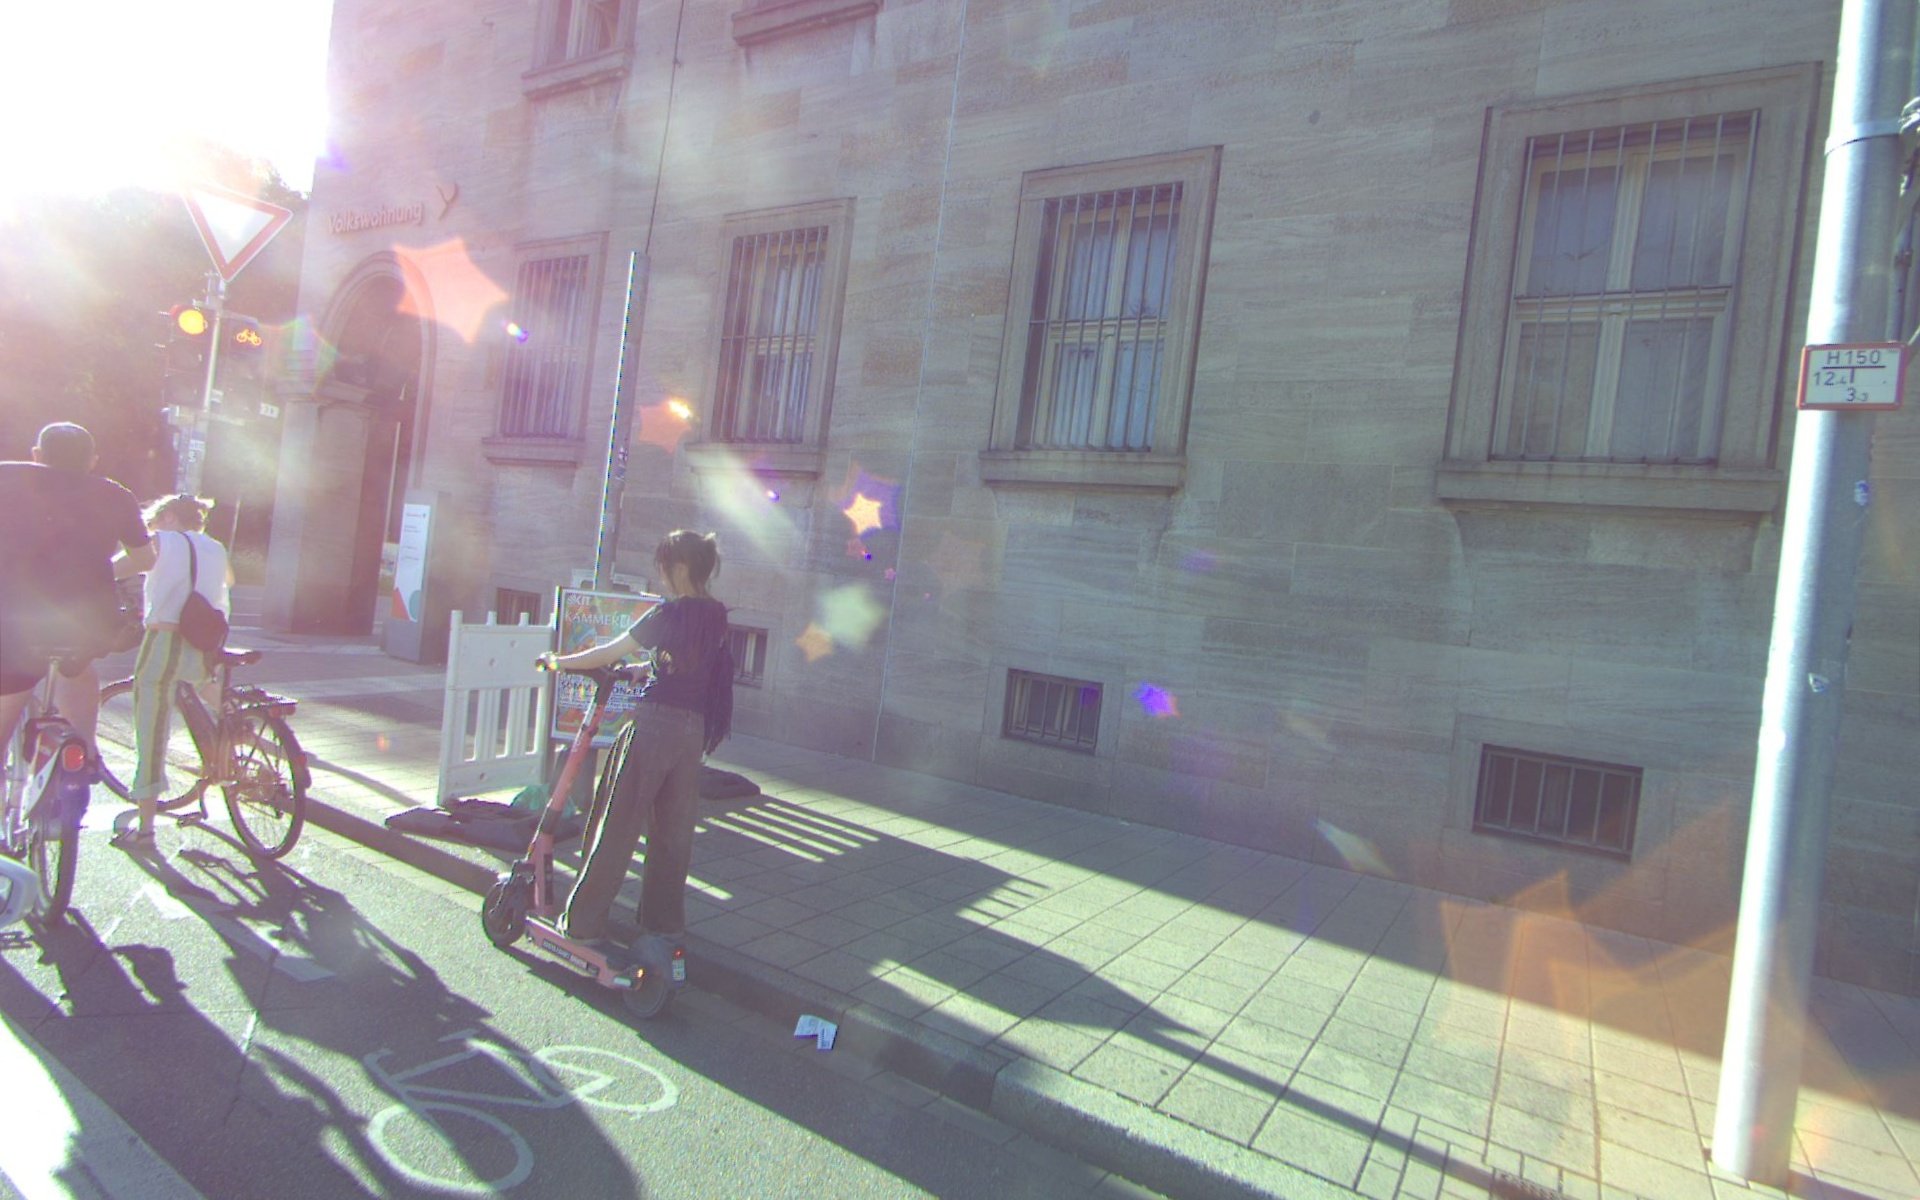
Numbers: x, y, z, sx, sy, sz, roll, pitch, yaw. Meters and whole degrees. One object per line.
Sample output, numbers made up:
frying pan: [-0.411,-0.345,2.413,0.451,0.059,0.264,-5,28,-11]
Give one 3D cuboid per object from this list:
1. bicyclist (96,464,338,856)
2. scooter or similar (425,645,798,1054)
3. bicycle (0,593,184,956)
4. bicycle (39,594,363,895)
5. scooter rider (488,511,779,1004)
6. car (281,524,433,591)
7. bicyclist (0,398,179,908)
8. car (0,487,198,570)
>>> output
bicyclist: [-3.546,0.268,4.814,0.629,1.711,0.558,7,-1,30]
scooter or similar: [-1.368,0.859,3.886,1.305,1.199,0.535,7,0,31]
bicycle: [-3.748,0.576,3.935,1.700,1.090,0.516,7,-1,34]
bicycle: [-3.692,0.623,4.852,1.721,1.090,0.535,7,-1,31]
scooter rider: [-1.256,0.564,3.939,0.547,1.691,0.730,7,0,32]
car: [-19.705,-1.348,33.032,1.623,1.630,3.854,7,-1,31]
bicyclist: [-3.559,0.195,3.864,0.541,1.820,0.559,7,-1,33]
car: [-23.384,-1.892,27.205,1.622,1.630,3.999,7,-1,31]
